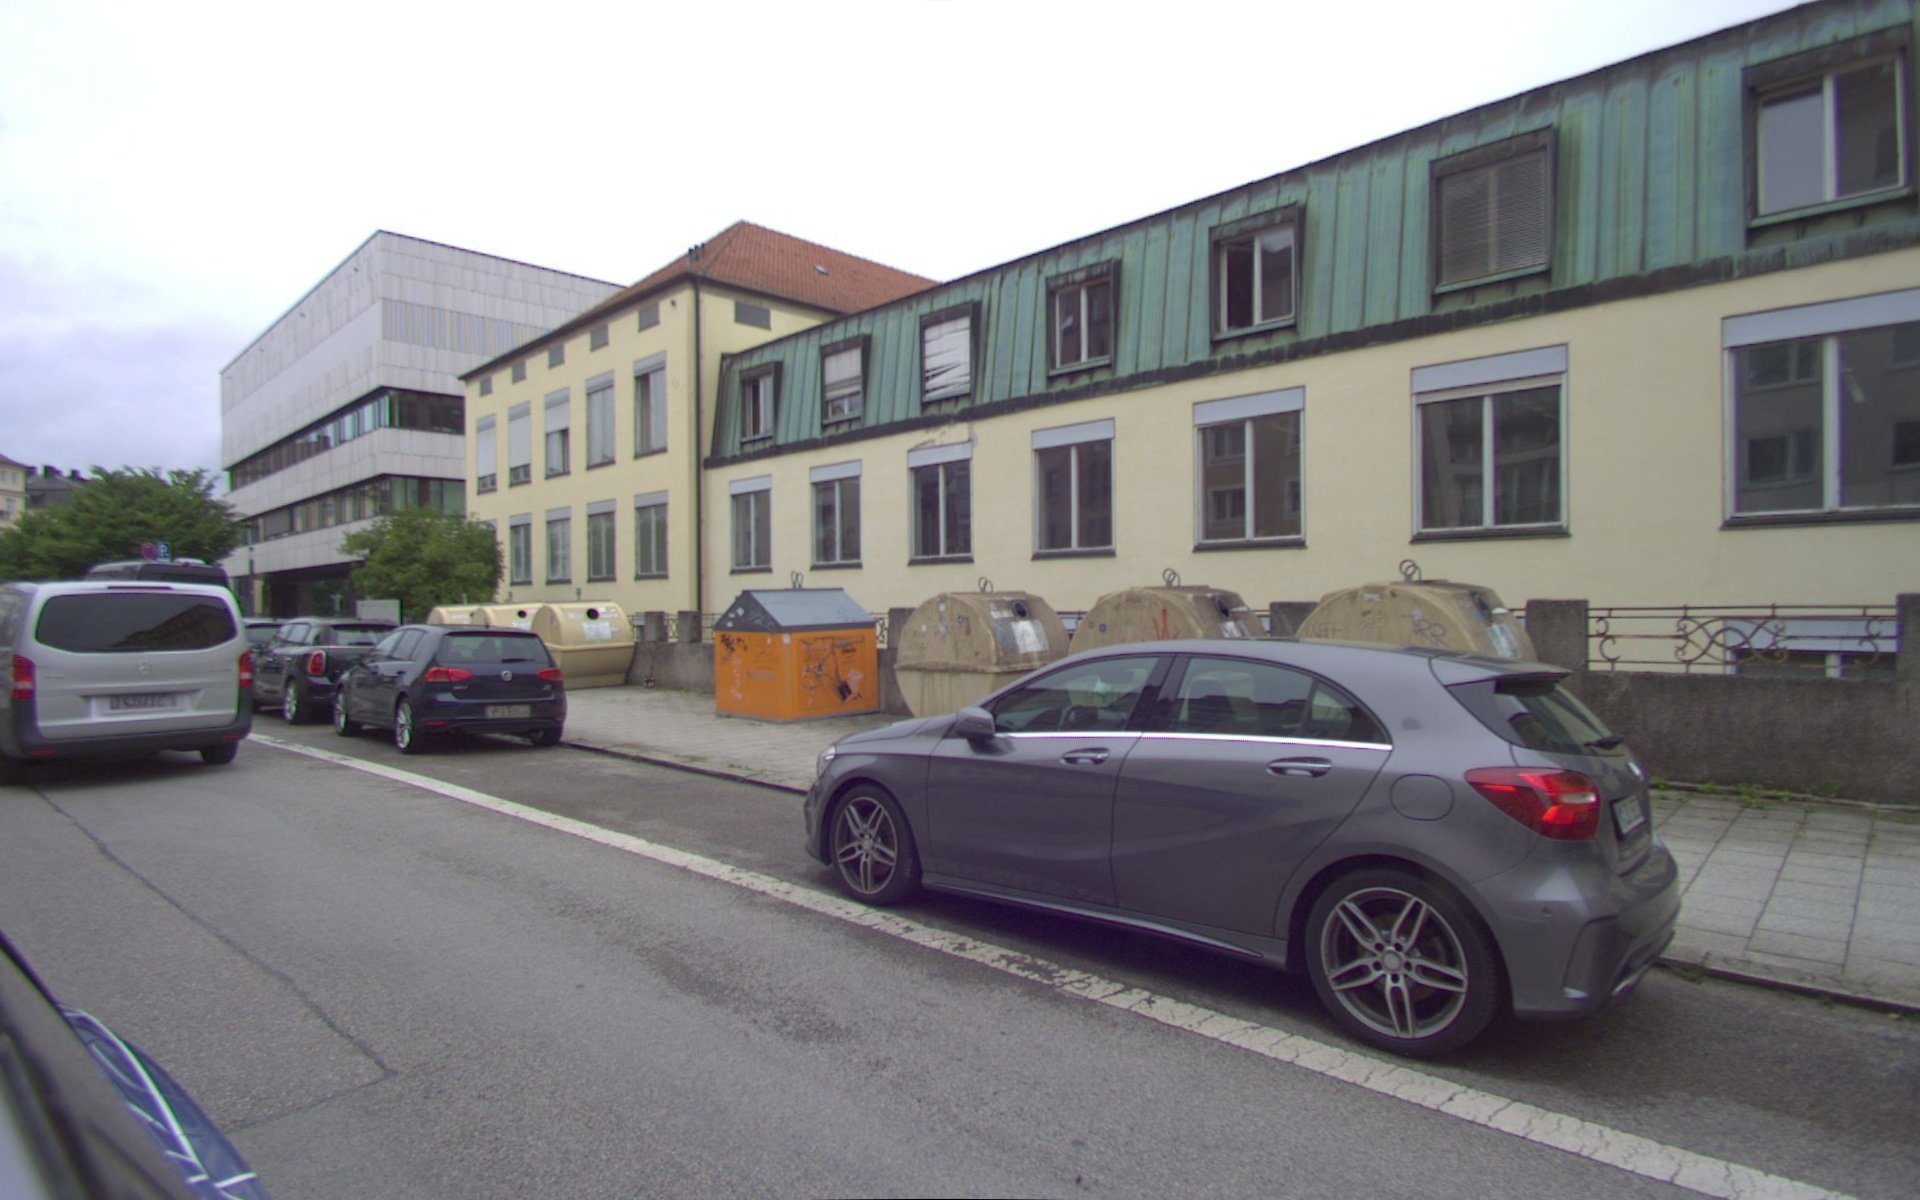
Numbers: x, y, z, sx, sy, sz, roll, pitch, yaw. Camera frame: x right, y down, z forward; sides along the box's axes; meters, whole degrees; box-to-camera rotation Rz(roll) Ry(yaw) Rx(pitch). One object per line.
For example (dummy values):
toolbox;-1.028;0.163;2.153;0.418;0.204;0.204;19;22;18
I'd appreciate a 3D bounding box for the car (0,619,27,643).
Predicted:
car;-97.400;3.173;103.435;1.861;2.374;4.013;-1;0;-26

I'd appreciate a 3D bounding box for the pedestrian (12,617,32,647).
pedestrian;-56.280;1.920;60.727;0.516;1.799;0.778;-1;0;37

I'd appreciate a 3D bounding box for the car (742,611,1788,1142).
car;1.113;0.806;5.073;4.615;1.429;1.992;0;-3;43

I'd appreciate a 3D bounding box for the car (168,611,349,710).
car;-13.277;1.083;19.060;4.349;1.649;1.860;-1;-4;43

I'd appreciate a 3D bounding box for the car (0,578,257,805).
car;-9.480;0.790;10.810;5.317;1.862;1.896;-1;1;40

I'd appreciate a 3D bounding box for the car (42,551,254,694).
car;-18.557;0.525;23.001;6.185;2.875;2.192;-1;-3;37

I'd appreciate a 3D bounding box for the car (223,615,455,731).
car;-9.925;1.114;16.043;4.350;1.599;1.893;-2;-5;42

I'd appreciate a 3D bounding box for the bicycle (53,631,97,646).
bicycle;-60.784;2.629;69.505;0.795;0.999;2.126;-1;-1;27

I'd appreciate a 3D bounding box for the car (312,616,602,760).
car;-6.472;0.998;12.764;4.534;1.493;1.891;-2;-4;45
